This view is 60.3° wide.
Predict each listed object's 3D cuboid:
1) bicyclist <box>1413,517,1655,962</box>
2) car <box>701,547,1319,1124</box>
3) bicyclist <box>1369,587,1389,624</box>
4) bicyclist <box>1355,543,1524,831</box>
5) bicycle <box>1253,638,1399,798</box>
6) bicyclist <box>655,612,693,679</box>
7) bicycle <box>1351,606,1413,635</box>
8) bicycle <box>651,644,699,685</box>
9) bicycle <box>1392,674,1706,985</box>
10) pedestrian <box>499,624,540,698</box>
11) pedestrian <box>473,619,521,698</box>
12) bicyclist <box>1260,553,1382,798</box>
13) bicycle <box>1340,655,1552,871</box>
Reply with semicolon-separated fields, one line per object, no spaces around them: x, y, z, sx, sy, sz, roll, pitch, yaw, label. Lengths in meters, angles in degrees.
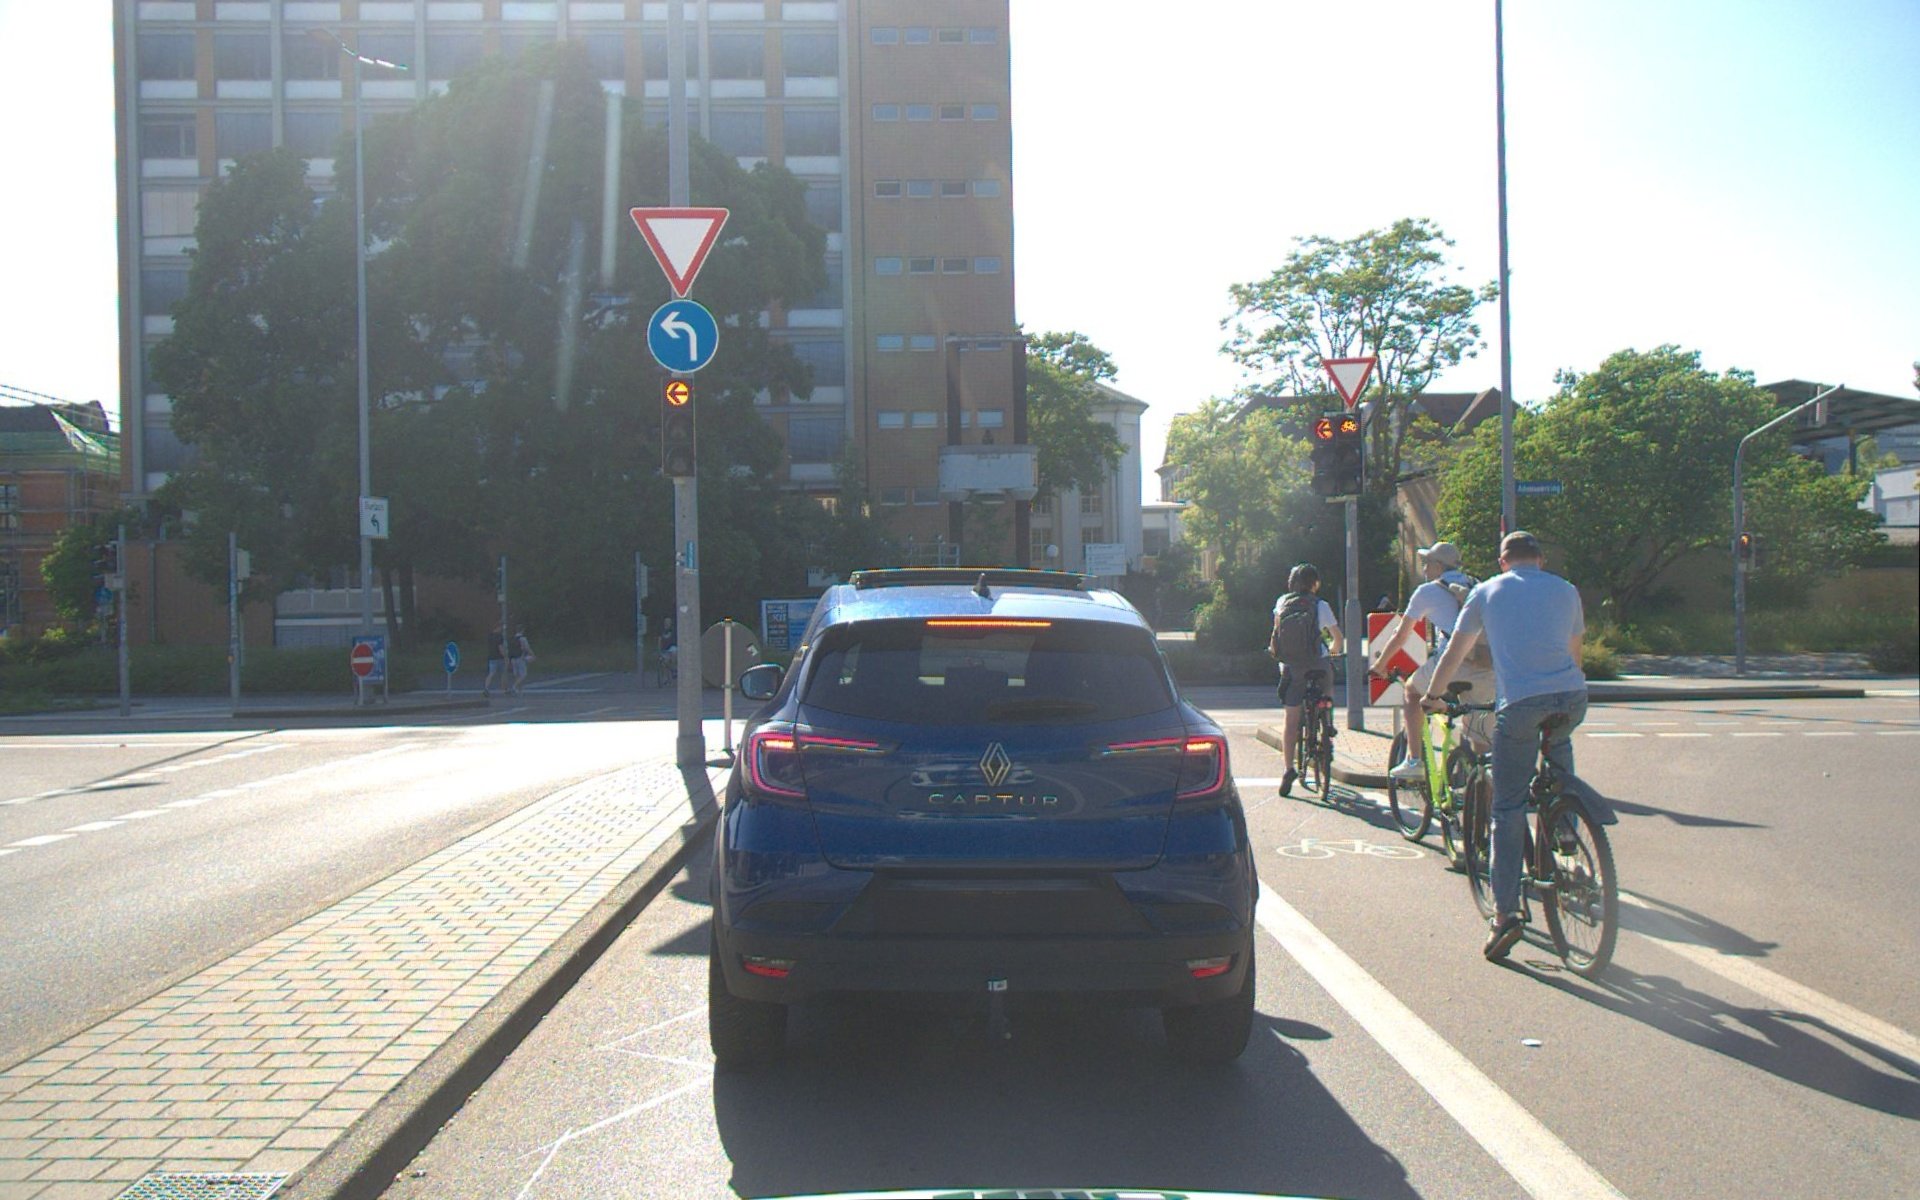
2.508;0.572;7.347;0.669;1.822;1.142;0;0;-1;bicyclist
0.062;0.664;6.640;1.753;1.613;3.912;0;0;-3;car
17.090;0.233;67.397;0.700;1.507;0.697;-1;0;19;bicyclist
2.842;0.491;9.897;0.664;1.622;1.142;0;0;-1;bicyclist
2.791;0.865;12.794;0.675;1.108;1.922;0;0;-1;bicycle
-7.541;1.187;43.662;0.739;1.746;0.999;-1;0;5;bicyclist
17.177;0.834;67.364;2.382;1.160;0.697;-1;0;20;bicycle
-7.522;1.701;43.765;0.739;1.002;2.095;-1;0;5;bicycle
2.509;0.921;7.299;0.675;1.108;1.922;0;0;-1;bicycle
-10.703;1.481;40.233;0.666;1.761;0.761;-1;0;13;pedestrian
-11.437;1.437;40.883;0.796;1.895;0.910;-1;0;13;pedestrian
2.786;0.562;12.855;0.685;1.822;1.142;0;0;-1;bicyclist
2.845;0.912;9.891;0.675;1.108;1.922;0;0;-1;bicycle
